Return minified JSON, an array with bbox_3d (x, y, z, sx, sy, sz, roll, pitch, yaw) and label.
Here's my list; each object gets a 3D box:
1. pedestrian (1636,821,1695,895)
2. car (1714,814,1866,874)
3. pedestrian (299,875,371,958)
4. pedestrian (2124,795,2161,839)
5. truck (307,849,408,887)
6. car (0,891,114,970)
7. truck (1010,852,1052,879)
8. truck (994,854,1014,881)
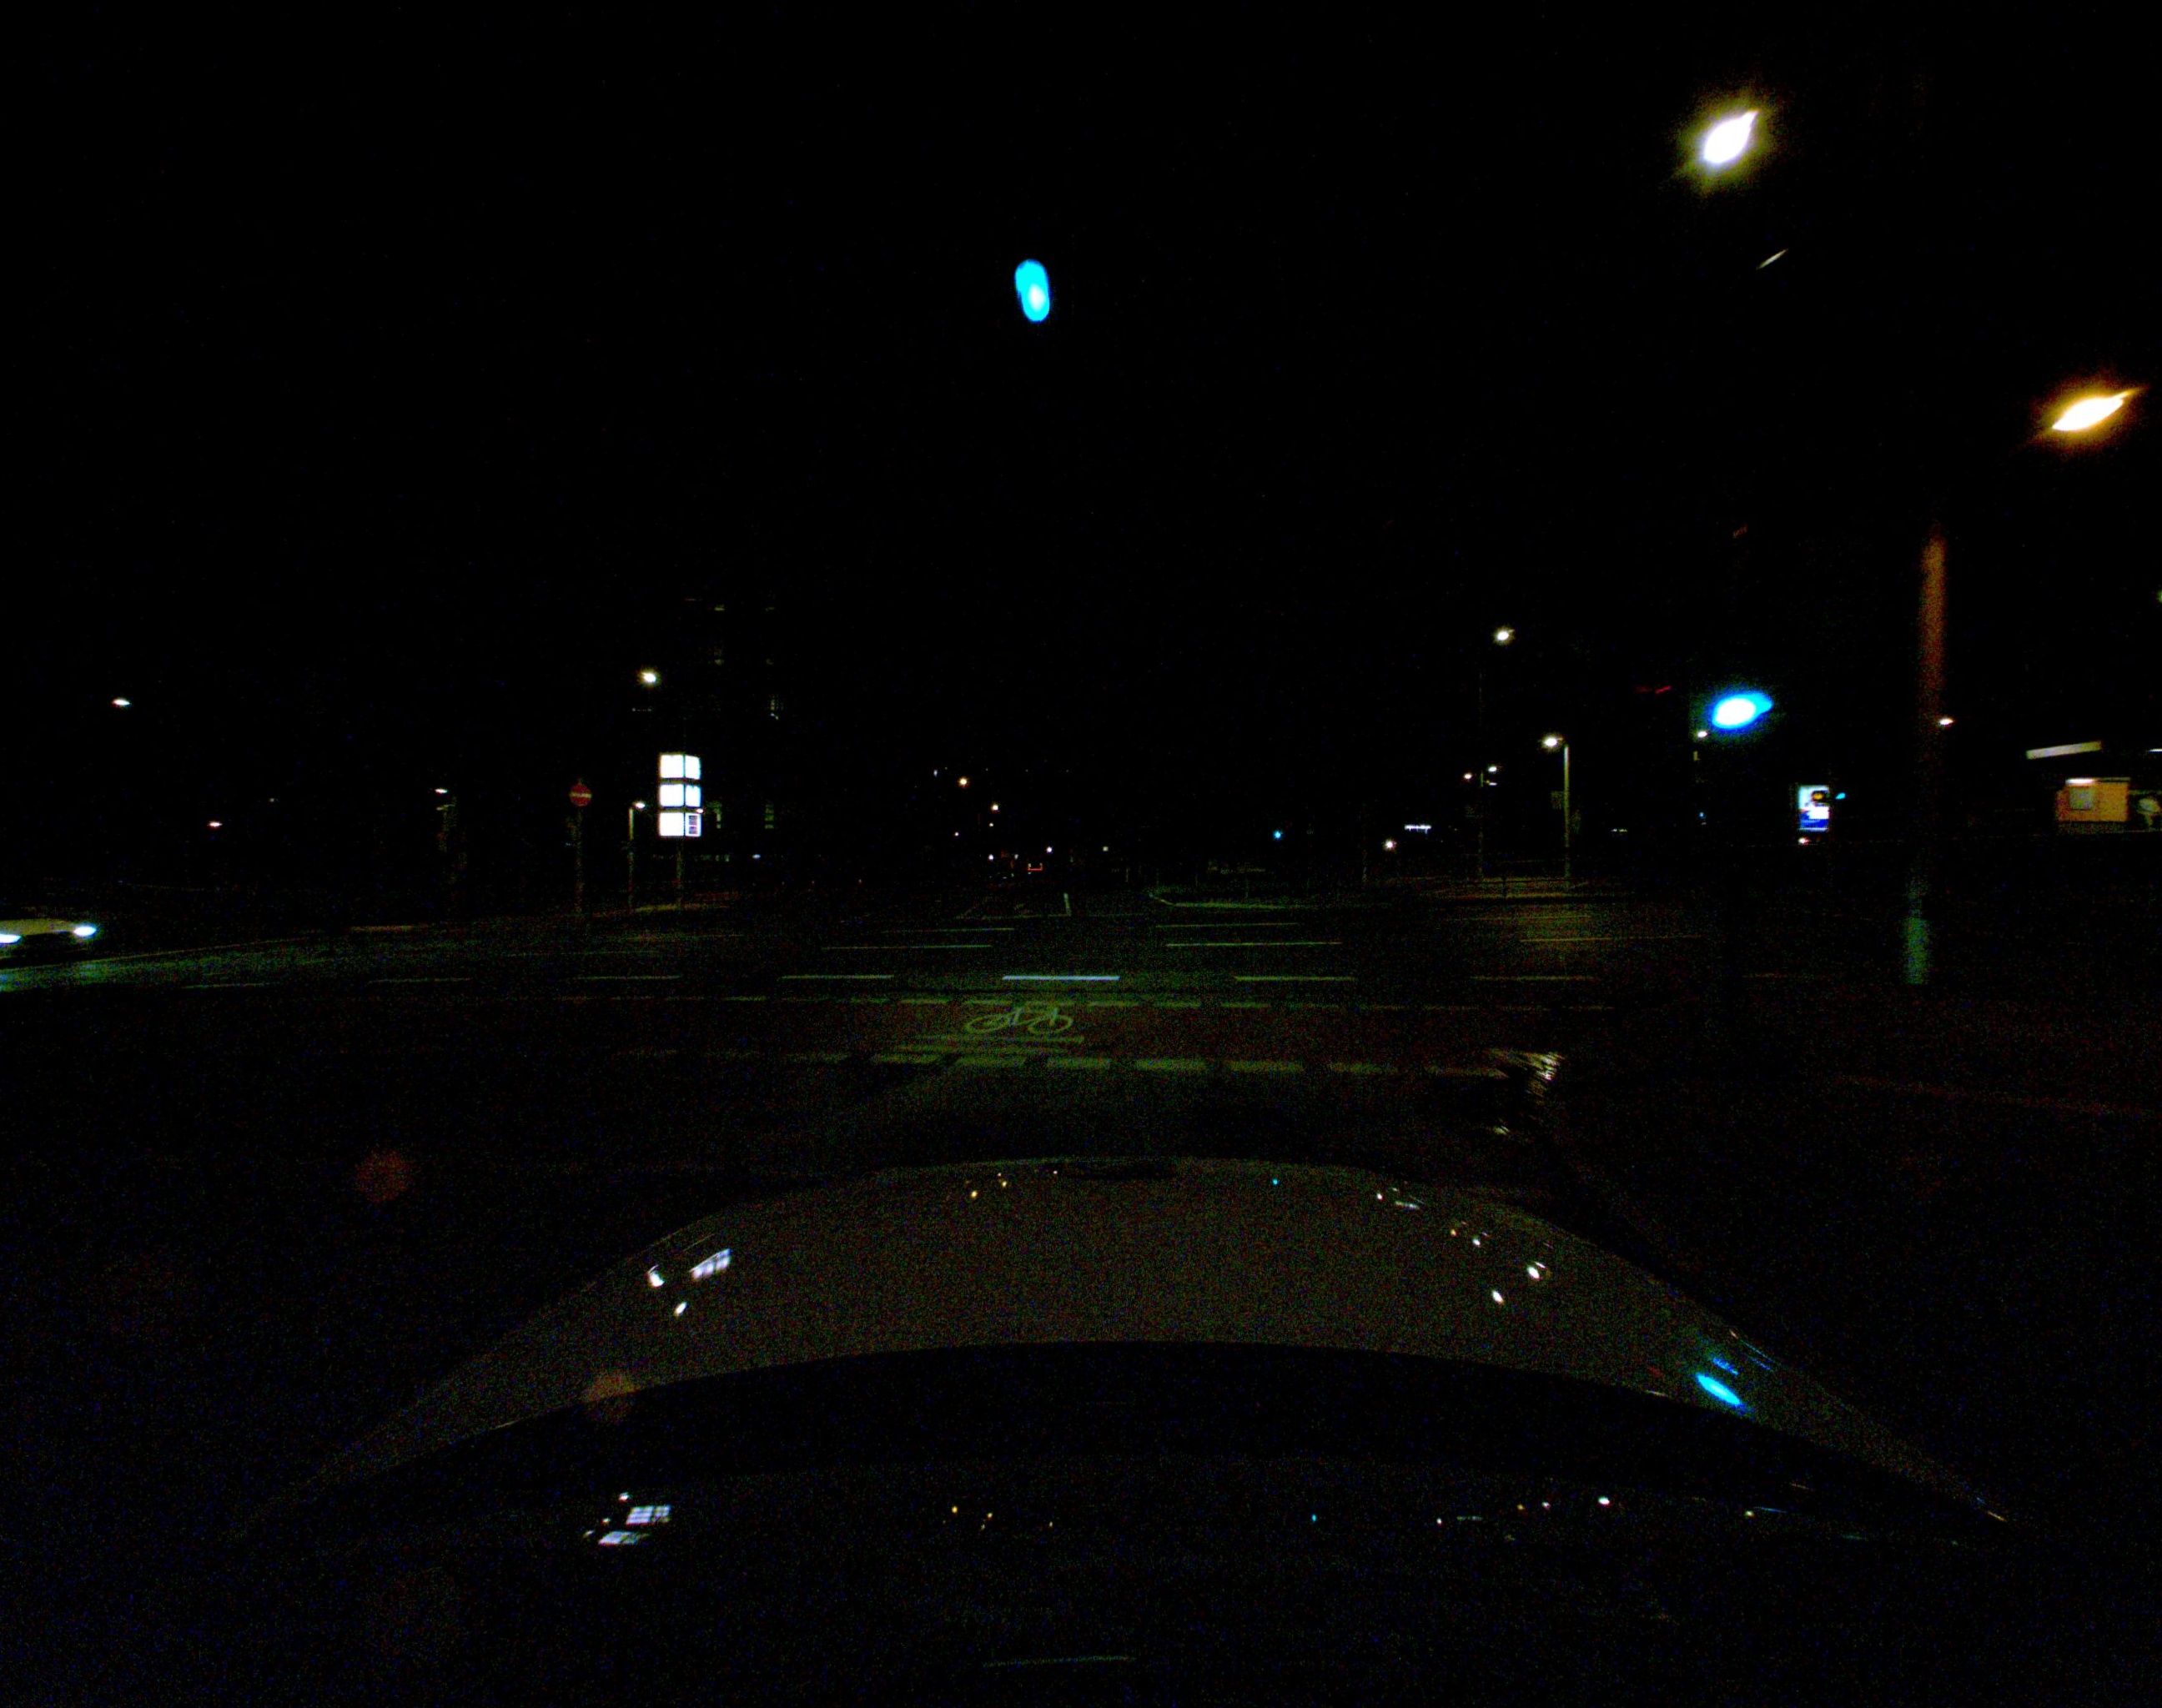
[{"bbox_3d":[14.360,0.093,20.037,0.752,1.744,0.834,-4,1,1],"label":"pedestrian"},{"bbox_3d":[27.750,-0.371,31.995,3.967,2.014,2.003,-4,-1,6],"label":"car"},{"bbox_3d":[-15.245,1.258,16.664,0.667,1.634,0.862,-1,-1,-3],"label":"pedestrian"},{"bbox_3d":[37.690,-1.305,28.552,1.131,1.500,1.084,-3,-2,41],"label":"pedestrian"},{"bbox_3d":[-60.287,1.145,67.911,5.873,3.088,2.915,-1,-1,2],"label":"truck"},{"bbox_3d":[-24.465,1.709,18.046,4.165,1.502,1.822,-2,1,6],"label":"car"},{"bbox_3d":[-9.283,2.064,148.408,4.835,4.547,12.590,-1,0,-17],"label":"truck"},{"bbox_3d":[-11.012,1.844,116.413,2.581,3.707,5.722,-1,0,-7],"label":"truck"}]
